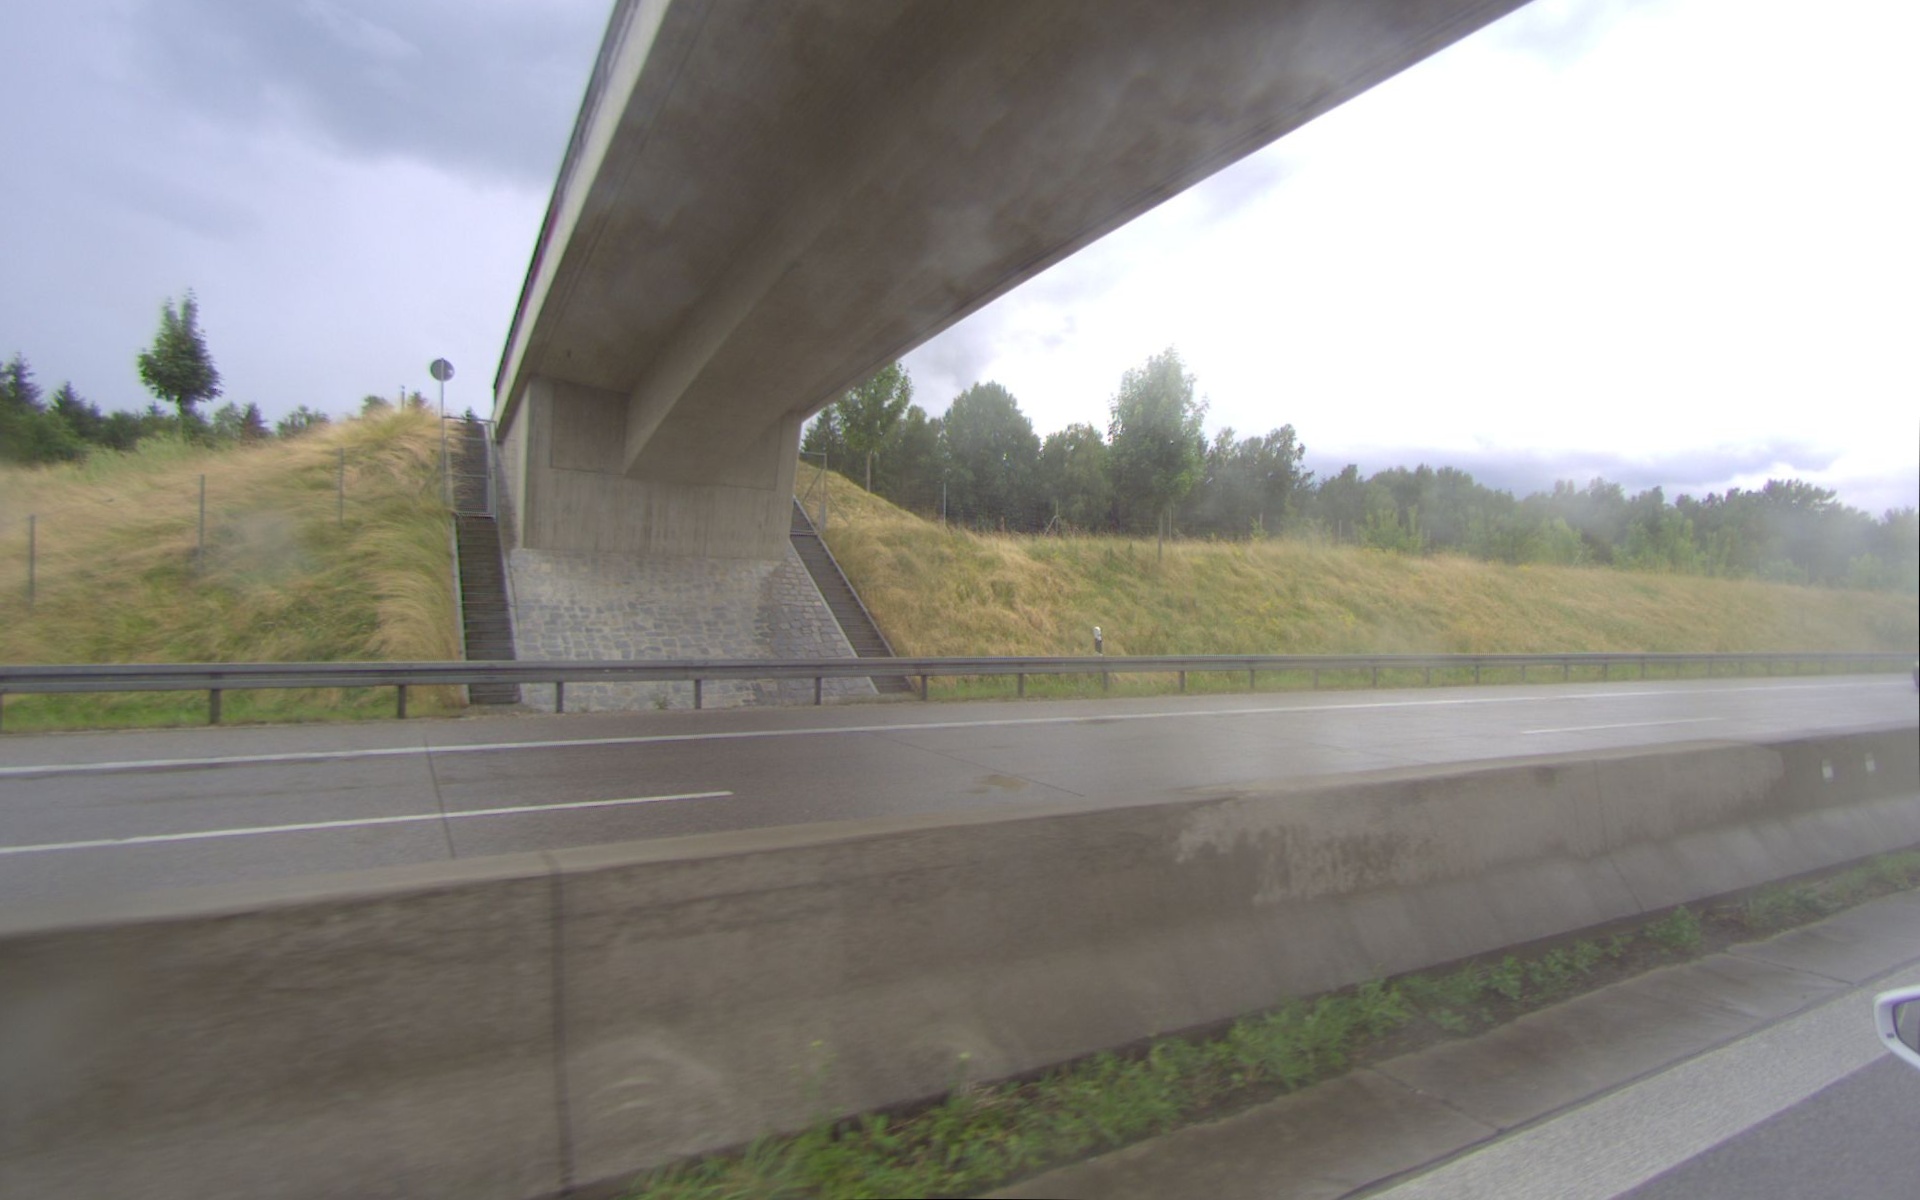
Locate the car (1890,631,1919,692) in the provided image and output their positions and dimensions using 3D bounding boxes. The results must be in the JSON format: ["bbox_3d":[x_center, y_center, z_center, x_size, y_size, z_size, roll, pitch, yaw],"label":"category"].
[{"bbox_3d":[28.152,1.715,27.657,5.119,1.578,2.276,1,1,-30],"label":"car"}]
